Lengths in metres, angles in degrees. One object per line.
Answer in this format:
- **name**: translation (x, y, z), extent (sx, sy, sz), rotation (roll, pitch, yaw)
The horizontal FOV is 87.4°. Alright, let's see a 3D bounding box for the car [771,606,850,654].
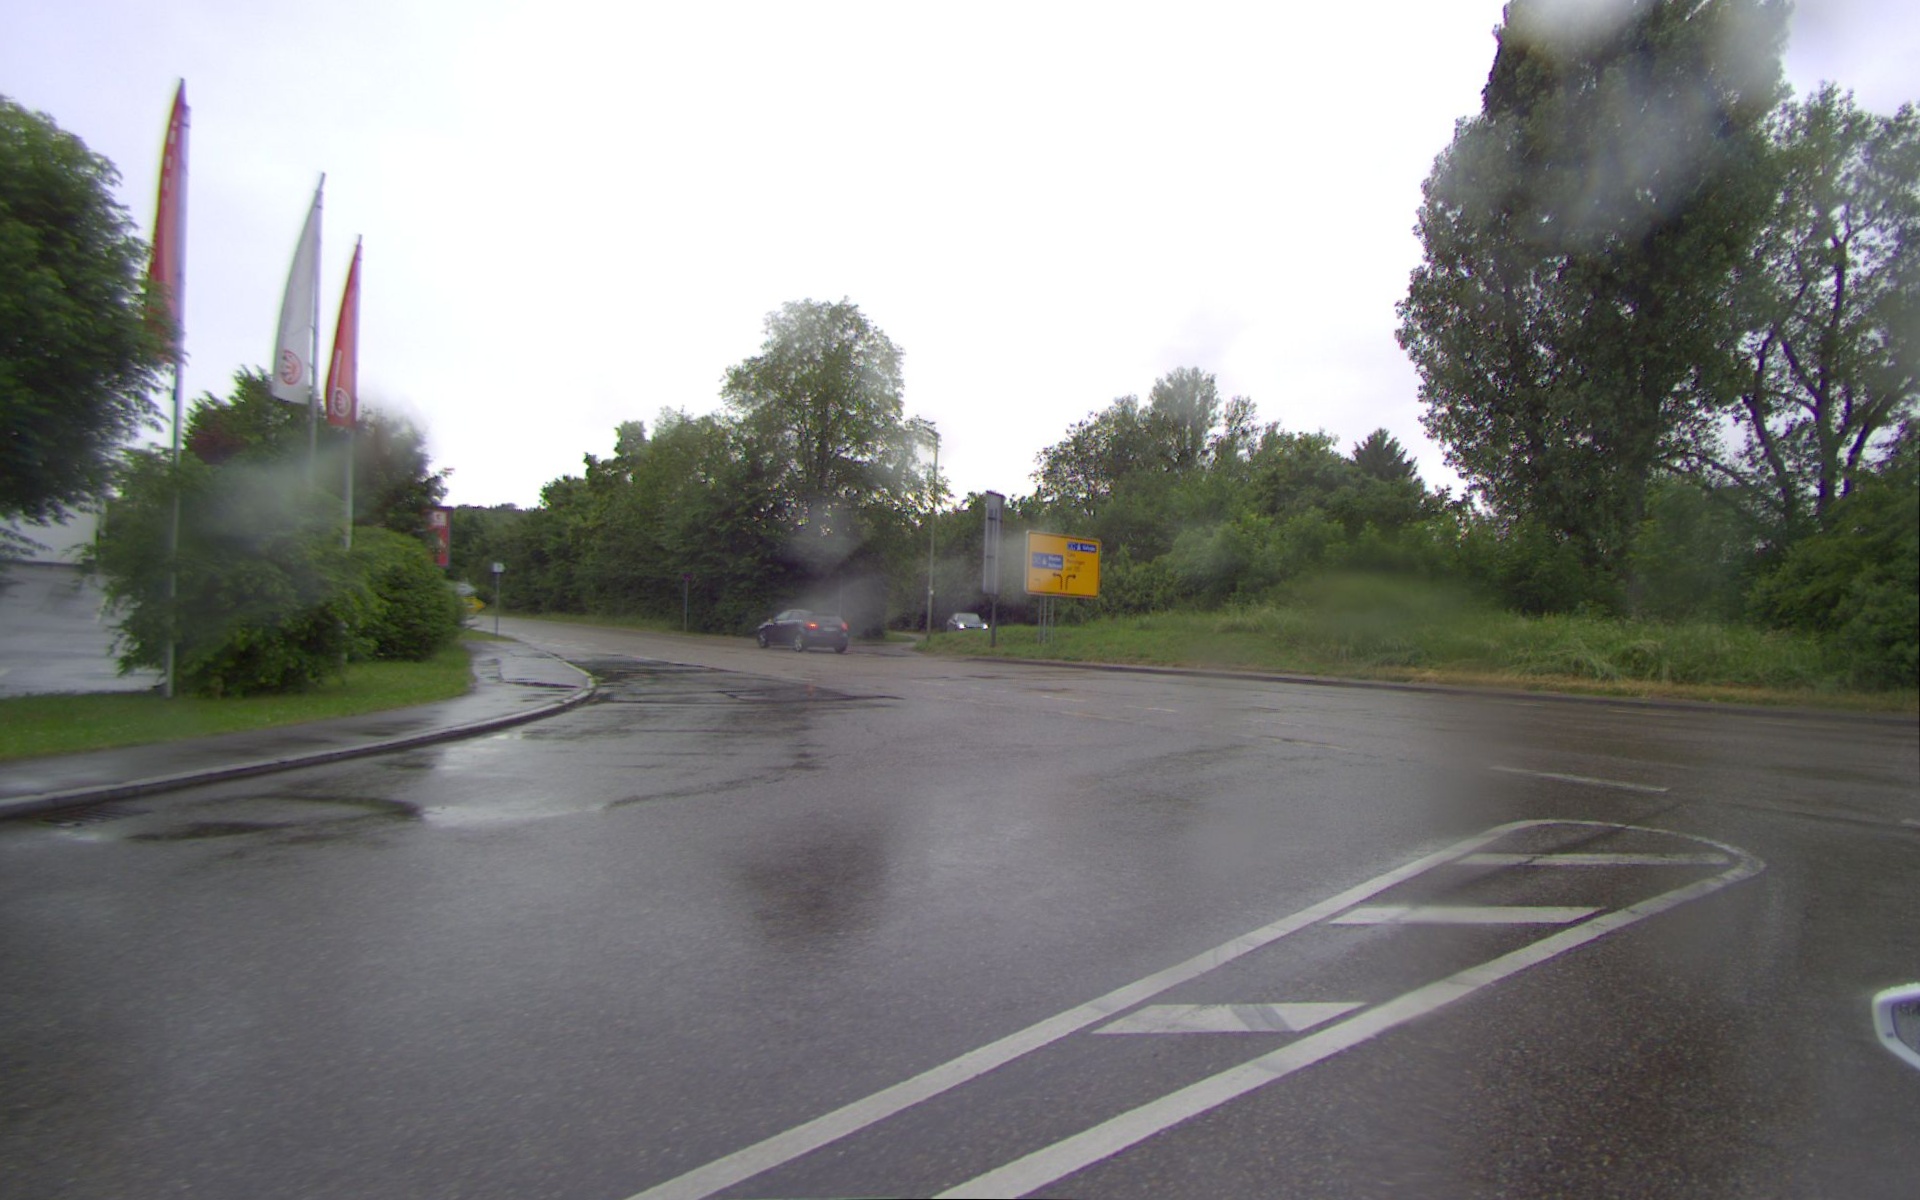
- **car**: translation (-5.254, 1.011, 34.901), extent (1.809, 1.544, 3.979), rotation (1, -1, -22)

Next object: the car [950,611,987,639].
- **car**: translation (0.428, 1.412, 57.575), extent (1.821, 1.509, 4.119), rotation (1, -1, -3)
